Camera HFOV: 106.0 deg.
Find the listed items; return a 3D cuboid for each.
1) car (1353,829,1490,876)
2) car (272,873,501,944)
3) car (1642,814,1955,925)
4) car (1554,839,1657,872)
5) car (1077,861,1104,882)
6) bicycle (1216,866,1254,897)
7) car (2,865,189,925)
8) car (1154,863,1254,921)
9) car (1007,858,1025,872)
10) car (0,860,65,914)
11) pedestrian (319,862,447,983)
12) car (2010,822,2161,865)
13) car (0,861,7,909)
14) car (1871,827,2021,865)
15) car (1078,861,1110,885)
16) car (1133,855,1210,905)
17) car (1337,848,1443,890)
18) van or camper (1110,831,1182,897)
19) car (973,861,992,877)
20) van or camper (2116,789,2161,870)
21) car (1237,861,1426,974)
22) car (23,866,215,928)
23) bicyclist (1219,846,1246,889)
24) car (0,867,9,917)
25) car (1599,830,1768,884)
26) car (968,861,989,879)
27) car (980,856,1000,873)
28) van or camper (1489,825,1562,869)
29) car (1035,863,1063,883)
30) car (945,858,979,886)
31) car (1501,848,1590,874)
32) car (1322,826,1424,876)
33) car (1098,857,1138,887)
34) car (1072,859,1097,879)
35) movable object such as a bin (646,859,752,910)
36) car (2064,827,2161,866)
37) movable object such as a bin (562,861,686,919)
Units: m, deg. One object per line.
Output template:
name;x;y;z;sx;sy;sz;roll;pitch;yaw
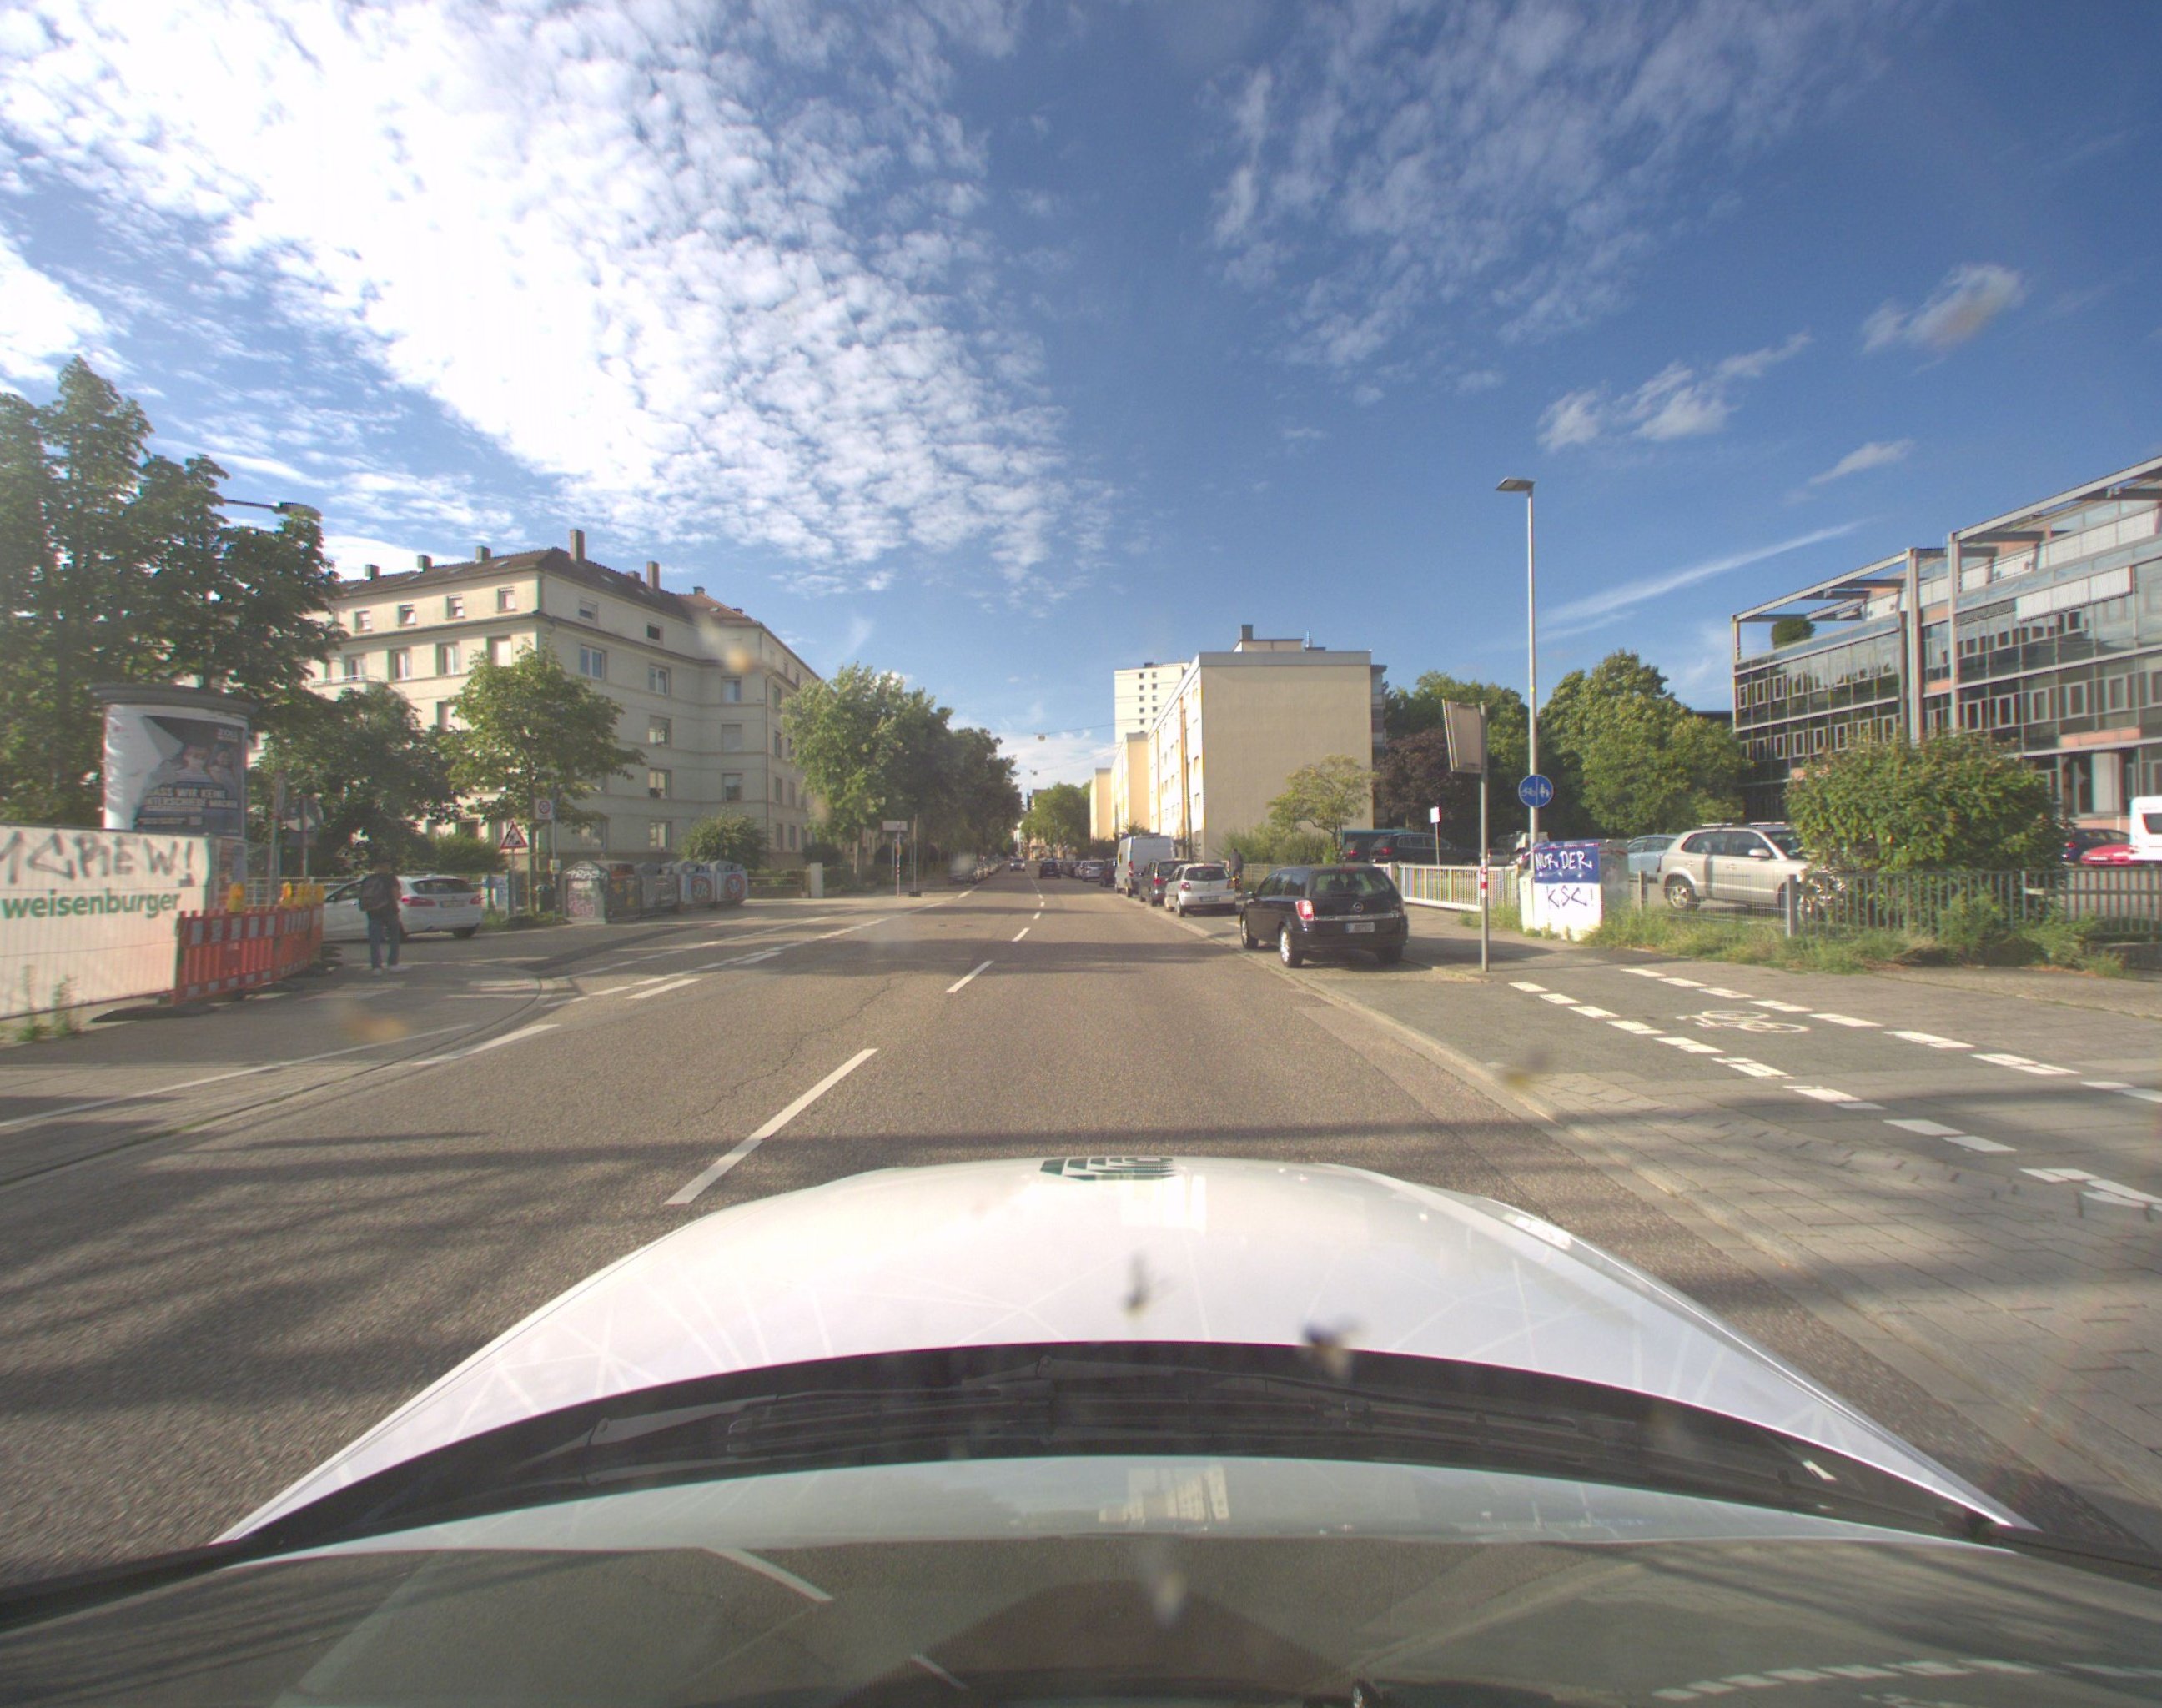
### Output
car;13.023;-0.054;31.339;4.431;1.622;2.001;-2;0;2
car;-16.604;1.256;19.562;4.230;1.555;2.007;0;-1;13
car;12.615;0.245;14.763;1.987;1.665;4.150;-2;0;0
car;26.681;0.082;41.527;3.977;1.552;1.998;-2;0;-3
car;0.708;1.393;64.918;1.988;1.530;3.997;-2;0;-2
bicycle;5.581;0.985;29.743;0.738;1.035;2.760;-3;-1;-1
car;-37.141;1.484;30.851;1.979;2.013;4.015;-2;0;14
car;3.550;1.069;24.456;2.011;1.475;4.797;-2;-1;-3
car;-8.183;1.321;102.232;2.054;1.663;3.916;-2;0;-7
car;-41.895;1.250;30.680;1.981;2.014;4.012;0;-1;11
pedestrian;-10.577;1.002;12.400;1.008;1.728;1.173;0;-2;-13
car;38.173;-0.392;30.716;4.308;1.355;1.808;-3;0;-2
car;-47.133;1.284;32.879;1.981;2.014;4.012;0;-1;11
car;37.569;-0.317;35.469;4.296;1.379;1.813;-3;0;7
car;0.866;1.283;56.950;1.988;1.574;3.997;-2;0;-2
car;3.206;0.898;29.699;1.990;1.615;4.401;-2;0;-4
car;13.720;0.655;36.350;3.971;1.738;2.001;-2;0;2
van or camper;2.738;0.431;35.627;2.206;2.607;5.362;-2;0;-5
car;-9.916;1.513;81.947;1.805;1.561;3.425;-2;0;-7
van or camper;36.985;-0.857;25.832;5.227;2.556;2.593;-2;0;-3
car;3.790;0.884;13.113;1.712;1.496;4.267;-1;-1;0
car;-34.875;1.496;29.692;1.979;2.013;4.015;-2;0;14
bicyclist;5.548;0.499;29.846;0.735;1.513;0.874;-3;-1;-2
car;-45.004;1.525;31.351;1.981;2.014;4.012;0;-1;11
car;18.103;0.097;24.728;1.989;1.442;3.994;-2;0;-4
car;-8.530;1.312;68.002;1.636;1.390;3.425;-2;0;-7
car;-10.959;1.238;98.279;1.988;2.013;3.997;-2;0;-2
van or camper;30.762;-0.455;56.576;2.321;2.874;5.123;-2;0;1
car;-2.680;1.550;67.791;1.992;1.570;3.989;0;0;-8
car;-7.513;1.097;51.786;1.992;1.640;3.990;-2;0;-7
car;26.663;0.387;46.859;3.978;1.329;1.998;-2;0;-4
car;13.849;-0.150;38.789;4.103;2.186;2.001;-2;0;2
car;2.077;1.013;46.629;1.988;1.574;3.997;-2;0;-2
car;0.247;1.239;69.528;1.988;1.574;3.997;-2;0;-2
movable object such as a bin;-13.262;1.026;28.316;3.082;1.708;1.415;0;-1;12
car;37.385;-0.277;28.542;3.977;1.288;1.661;-2;0;-2
movable object such as a bin;-14.218;1.093;25.389;3.081;1.708;1.553;0;-1;13
